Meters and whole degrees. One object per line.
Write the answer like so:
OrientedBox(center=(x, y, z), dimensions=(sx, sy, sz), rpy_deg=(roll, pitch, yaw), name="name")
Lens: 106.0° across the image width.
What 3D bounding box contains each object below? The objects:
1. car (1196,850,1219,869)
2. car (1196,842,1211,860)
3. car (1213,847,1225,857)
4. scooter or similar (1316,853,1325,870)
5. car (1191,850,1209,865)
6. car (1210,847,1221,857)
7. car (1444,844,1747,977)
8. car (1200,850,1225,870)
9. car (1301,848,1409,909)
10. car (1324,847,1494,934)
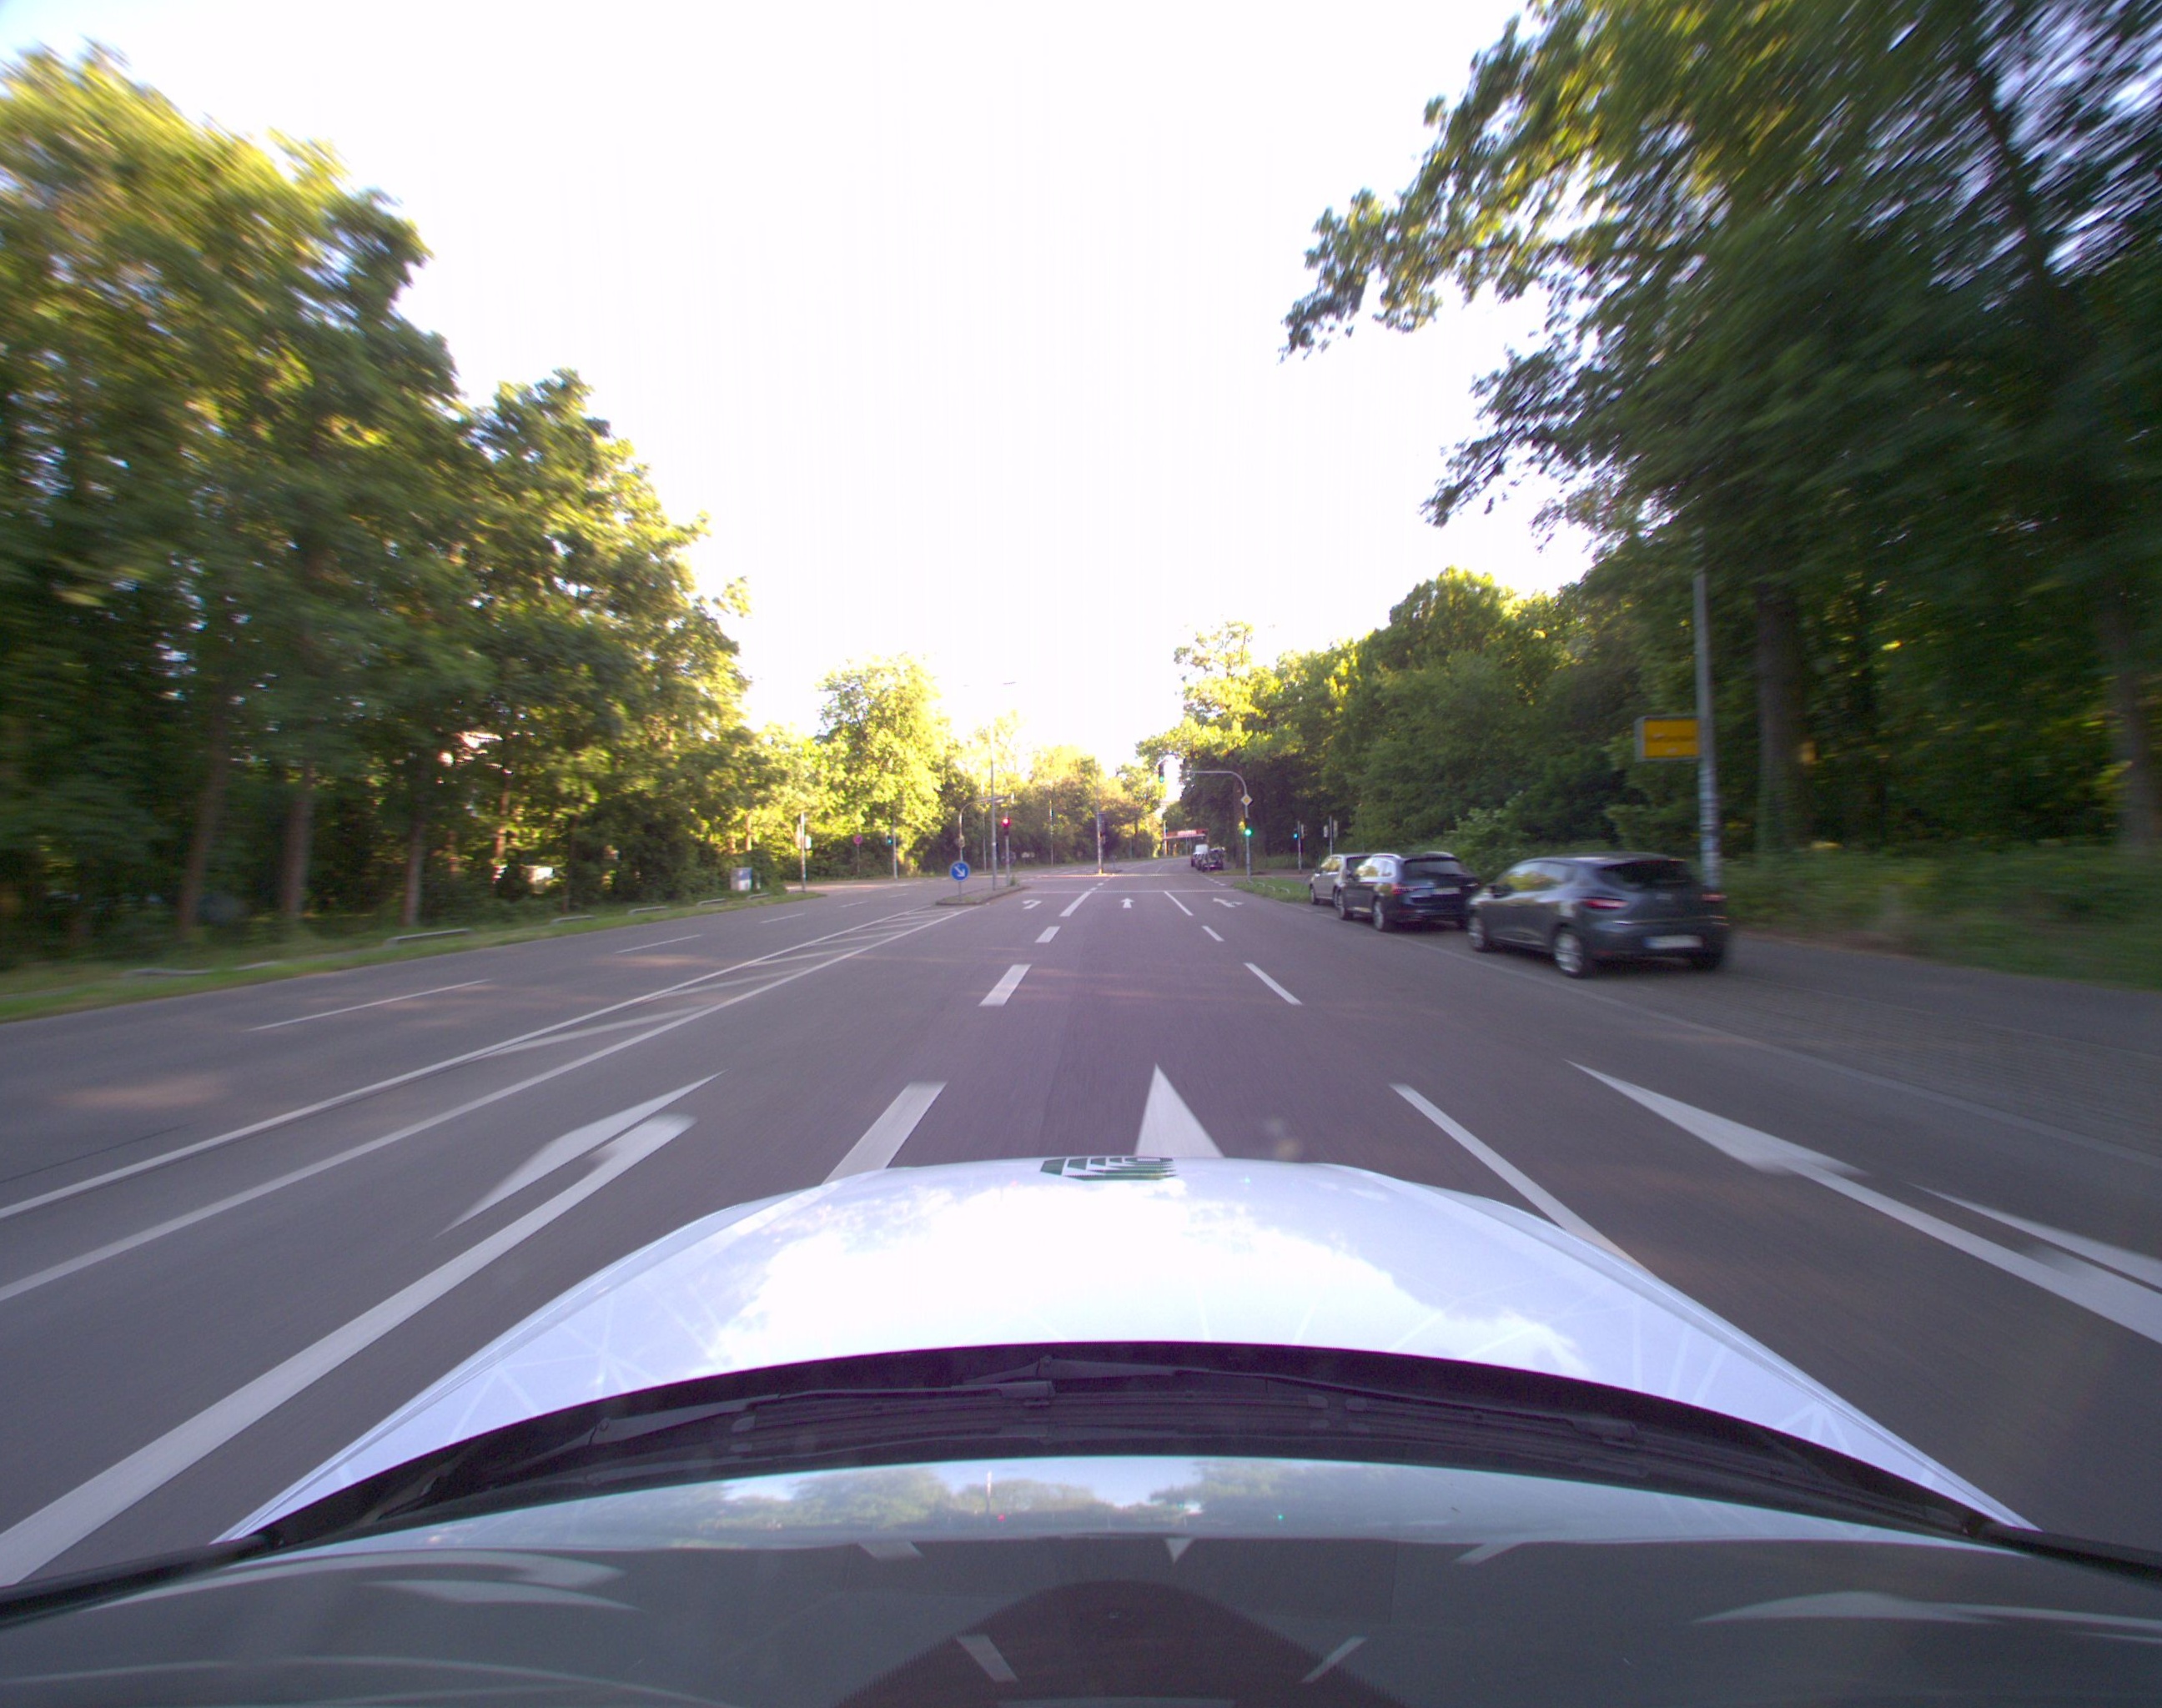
OrientedBox(center=(10.851, 0.487, 70.142), dimensions=(1.709, 1.469, 4.996), rpy_deg=(-3, -1, 6), name="car")
OrientedBox(center=(17.952, -0.426, 119.312), dimensions=(1.892, 2.423, 5.593), rpy_deg=(-3, -1, 11), name="car")
OrientedBox(center=(28.165, -0.478, 166.293), dimensions=(1.855, 1.981, 5.495), rpy_deg=(-3, -1, 13), name="car")
OrientedBox(center=(15.771, 0.486, 53.642), dimensions=(0.375, 1.144, 1.227), rpy_deg=(-2, 0, 11), name="scooter or similar")
OrientedBox(center=(12.461, 0.390, 85.643), dimensions=(1.709, 1.411, 4.495), rpy_deg=(-3, -1, 6), name="car")
OrientedBox(center=(25.393, -0.452, 153.902), dimensions=(1.747, 1.804, 4.753), rpy_deg=(-3, -1, 12), name="car")
OrientedBox(center=(6.631, 0.636, 11.134), dimensions=(1.665, 1.404, 4.235), rpy_deg=(-3, -1, 4), name="car")
OrientedBox(center=(10.267, 0.467, 63.703), dimensions=(1.709, 1.469, 3.763), rpy_deg=(-3, -1, 6), name="car")
OrientedBox(center=(7.489, 0.644, 22.632), dimensions=(1.712, 1.469, 3.874), rpy_deg=(-3, -1, 1), name="car")
OrientedBox(center=(6.588, 0.662, 17.033), dimensions=(1.754, 1.469, 5.122), rpy_deg=(-3, -1, 4), name="car")
